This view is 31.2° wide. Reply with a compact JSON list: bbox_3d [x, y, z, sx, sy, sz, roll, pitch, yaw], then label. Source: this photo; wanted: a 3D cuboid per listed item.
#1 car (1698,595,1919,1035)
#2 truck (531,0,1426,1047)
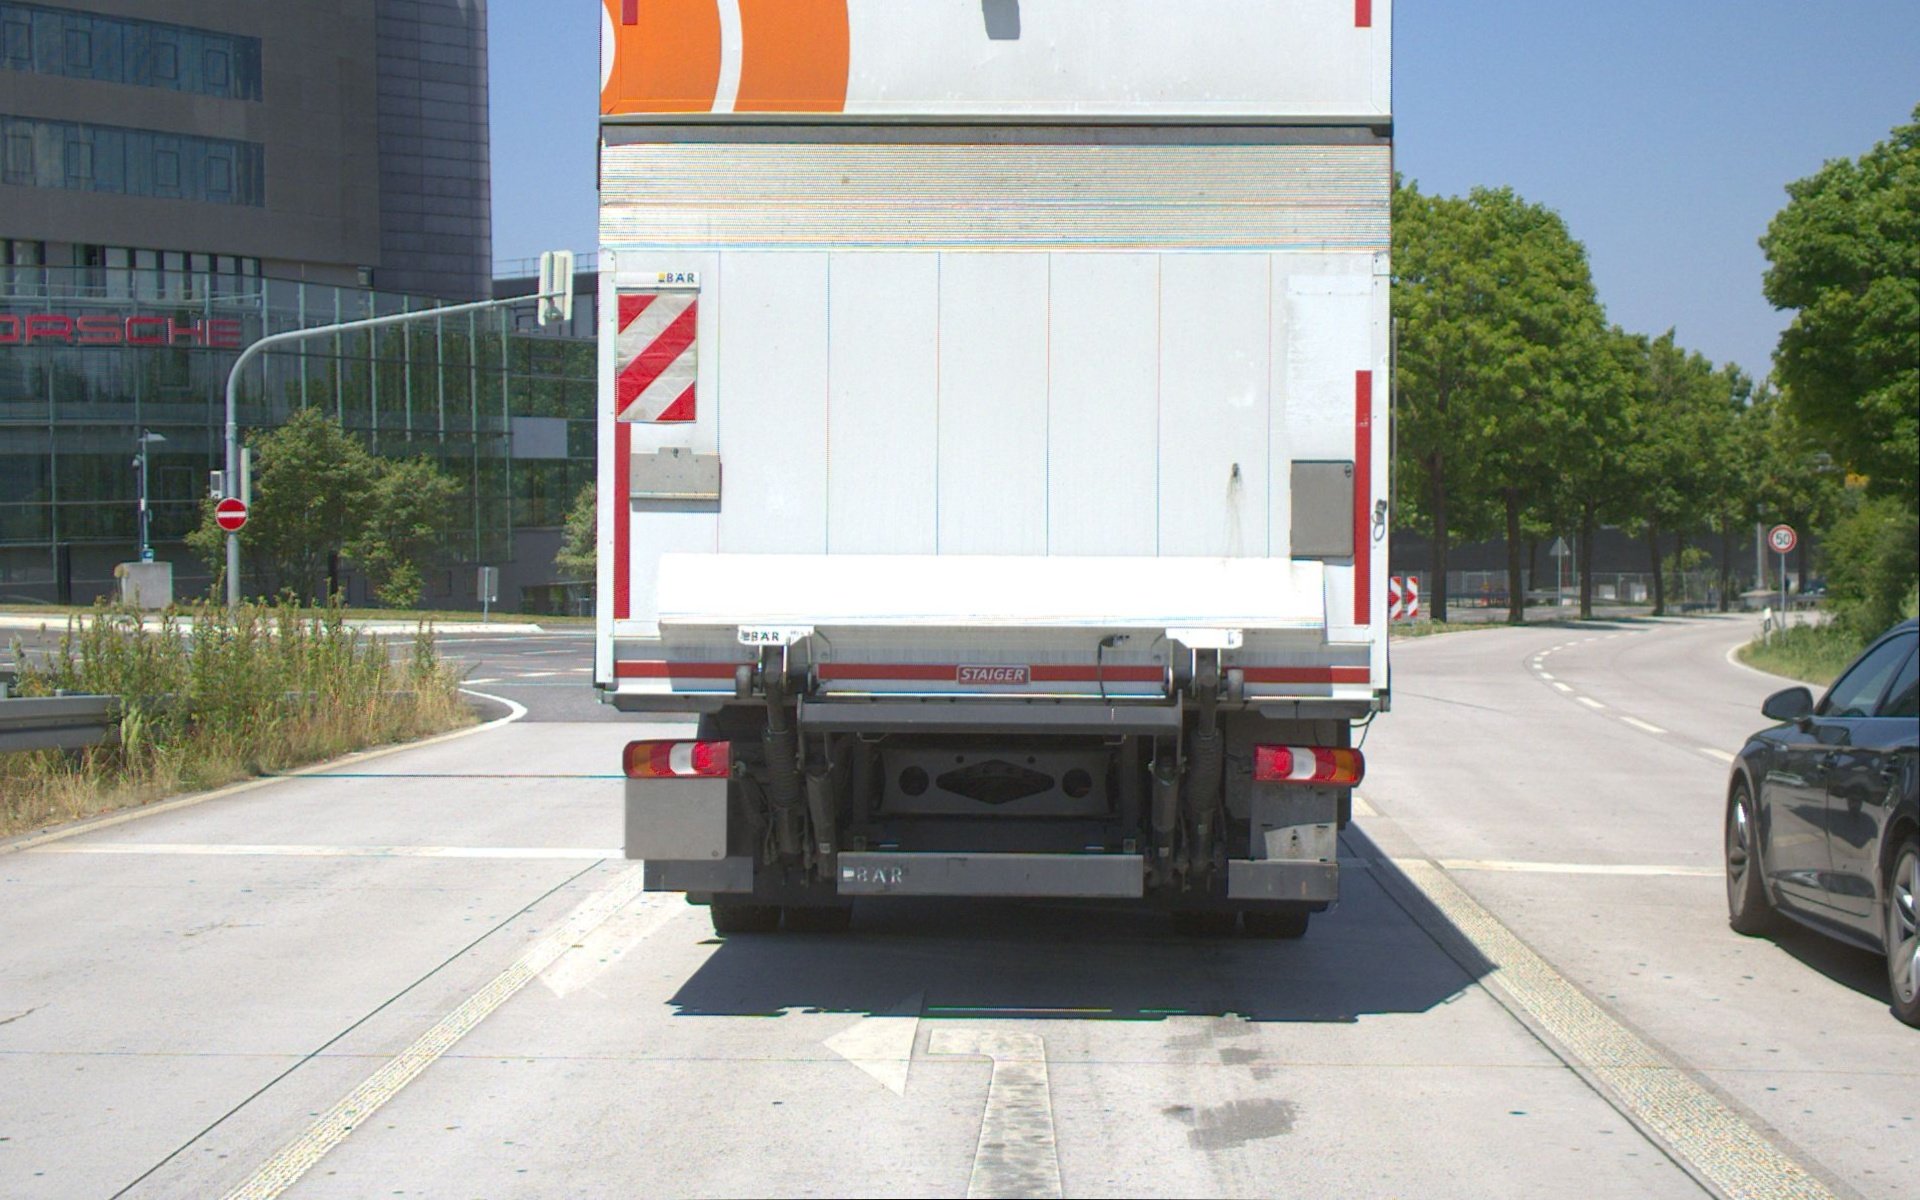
[{"bbox_3d":[4.024,0.702,12.565,1.767,1.405,4.609,1,0,2],"label":"car"},{"bbox_3d":[0.194,-0.565,15.430,2.769,3.846,9.370,1,0,2],"label":"truck"}]
